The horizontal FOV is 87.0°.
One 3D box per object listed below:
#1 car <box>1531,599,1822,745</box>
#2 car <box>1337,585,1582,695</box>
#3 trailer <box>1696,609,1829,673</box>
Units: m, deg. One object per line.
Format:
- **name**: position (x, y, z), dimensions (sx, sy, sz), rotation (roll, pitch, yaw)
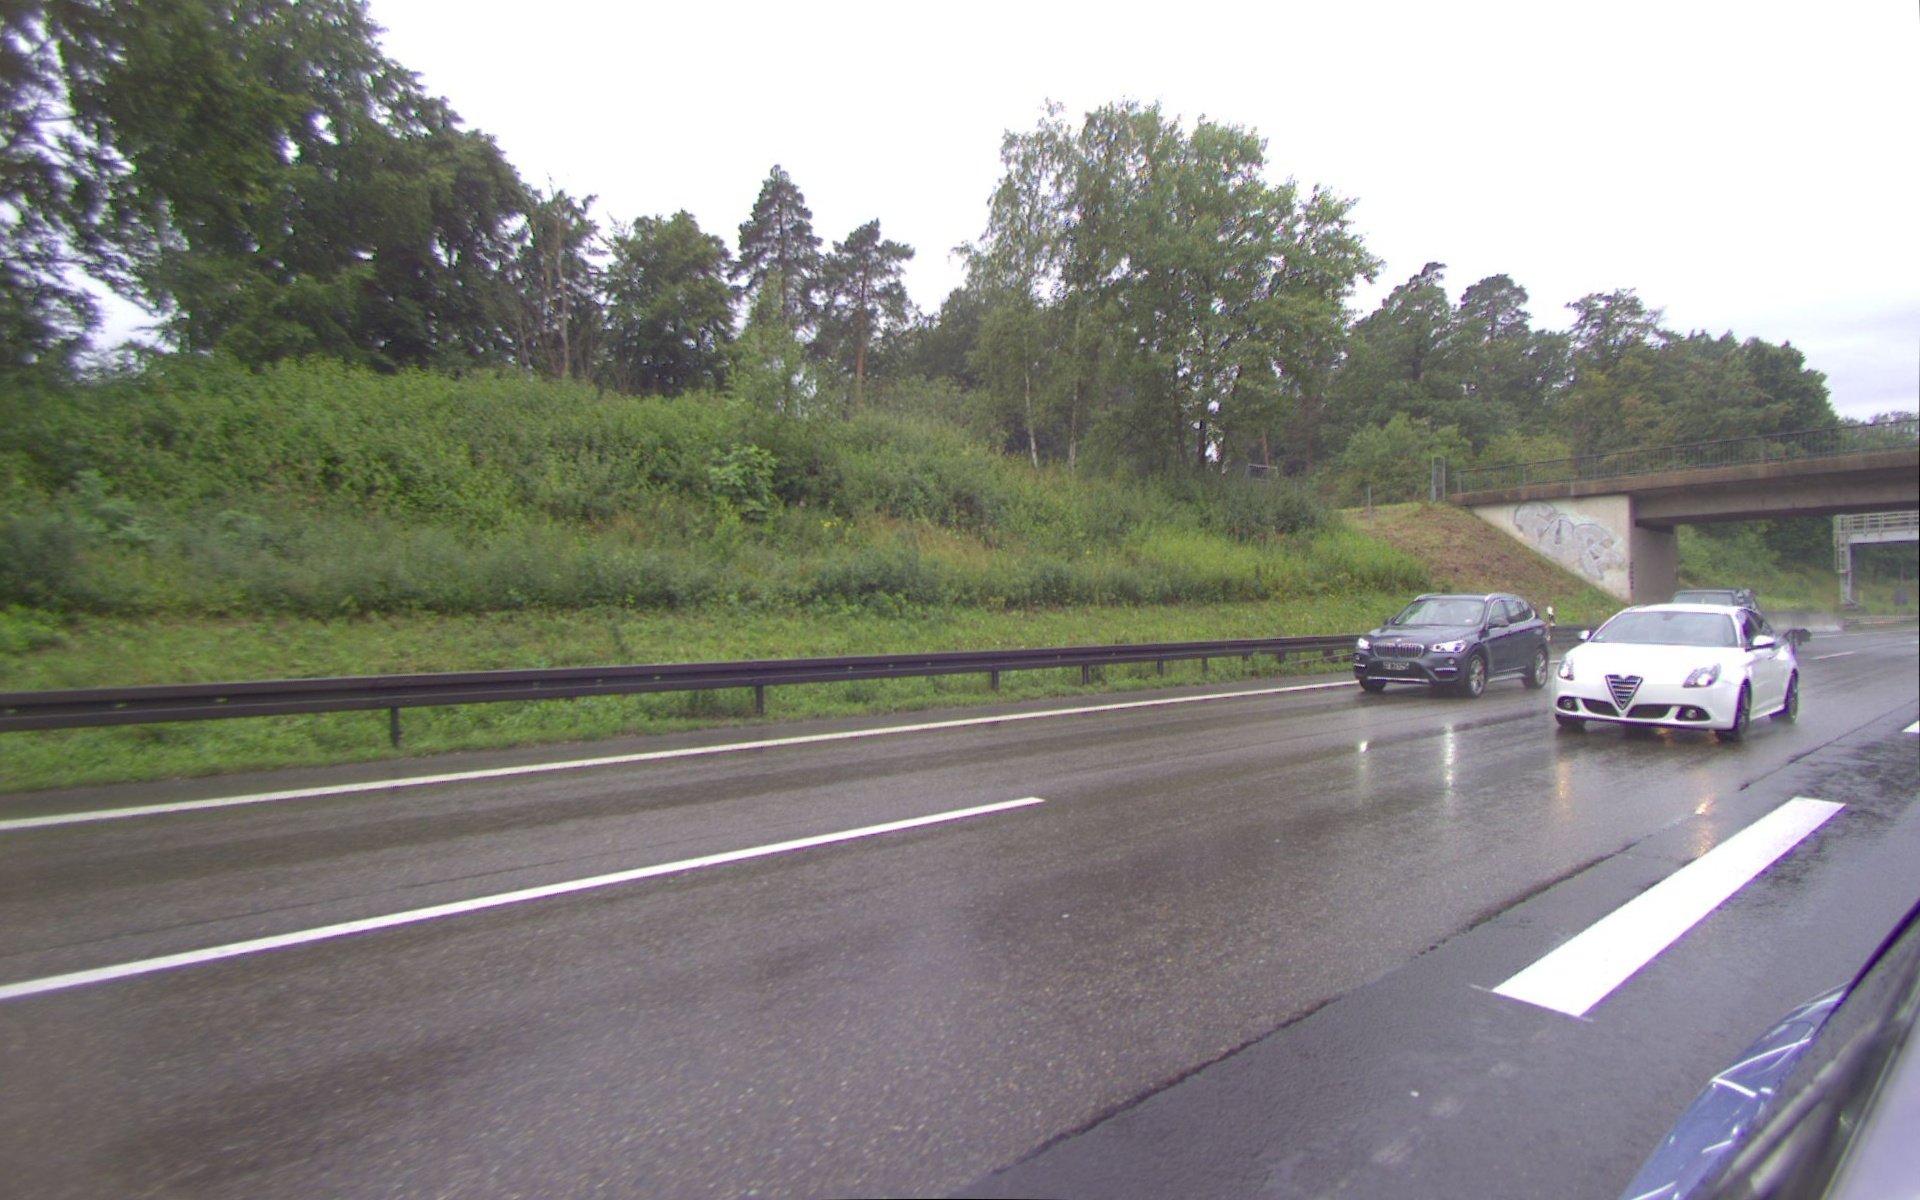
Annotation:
- **car**: position (8.795, 0.719, 12.278), dimensions (4.404, 1.443, 1.893), rotation (0, 0, -41)
- **car**: position (8.452, 0.572, 16.954), dimensions (4.683, 1.603, 1.993), rotation (0, 0, -40)
- **trailer**: position (24.356, 1.166, 30.651), dimensions (4.992, 1.736, 2.247), rotation (0, 0, -40)
